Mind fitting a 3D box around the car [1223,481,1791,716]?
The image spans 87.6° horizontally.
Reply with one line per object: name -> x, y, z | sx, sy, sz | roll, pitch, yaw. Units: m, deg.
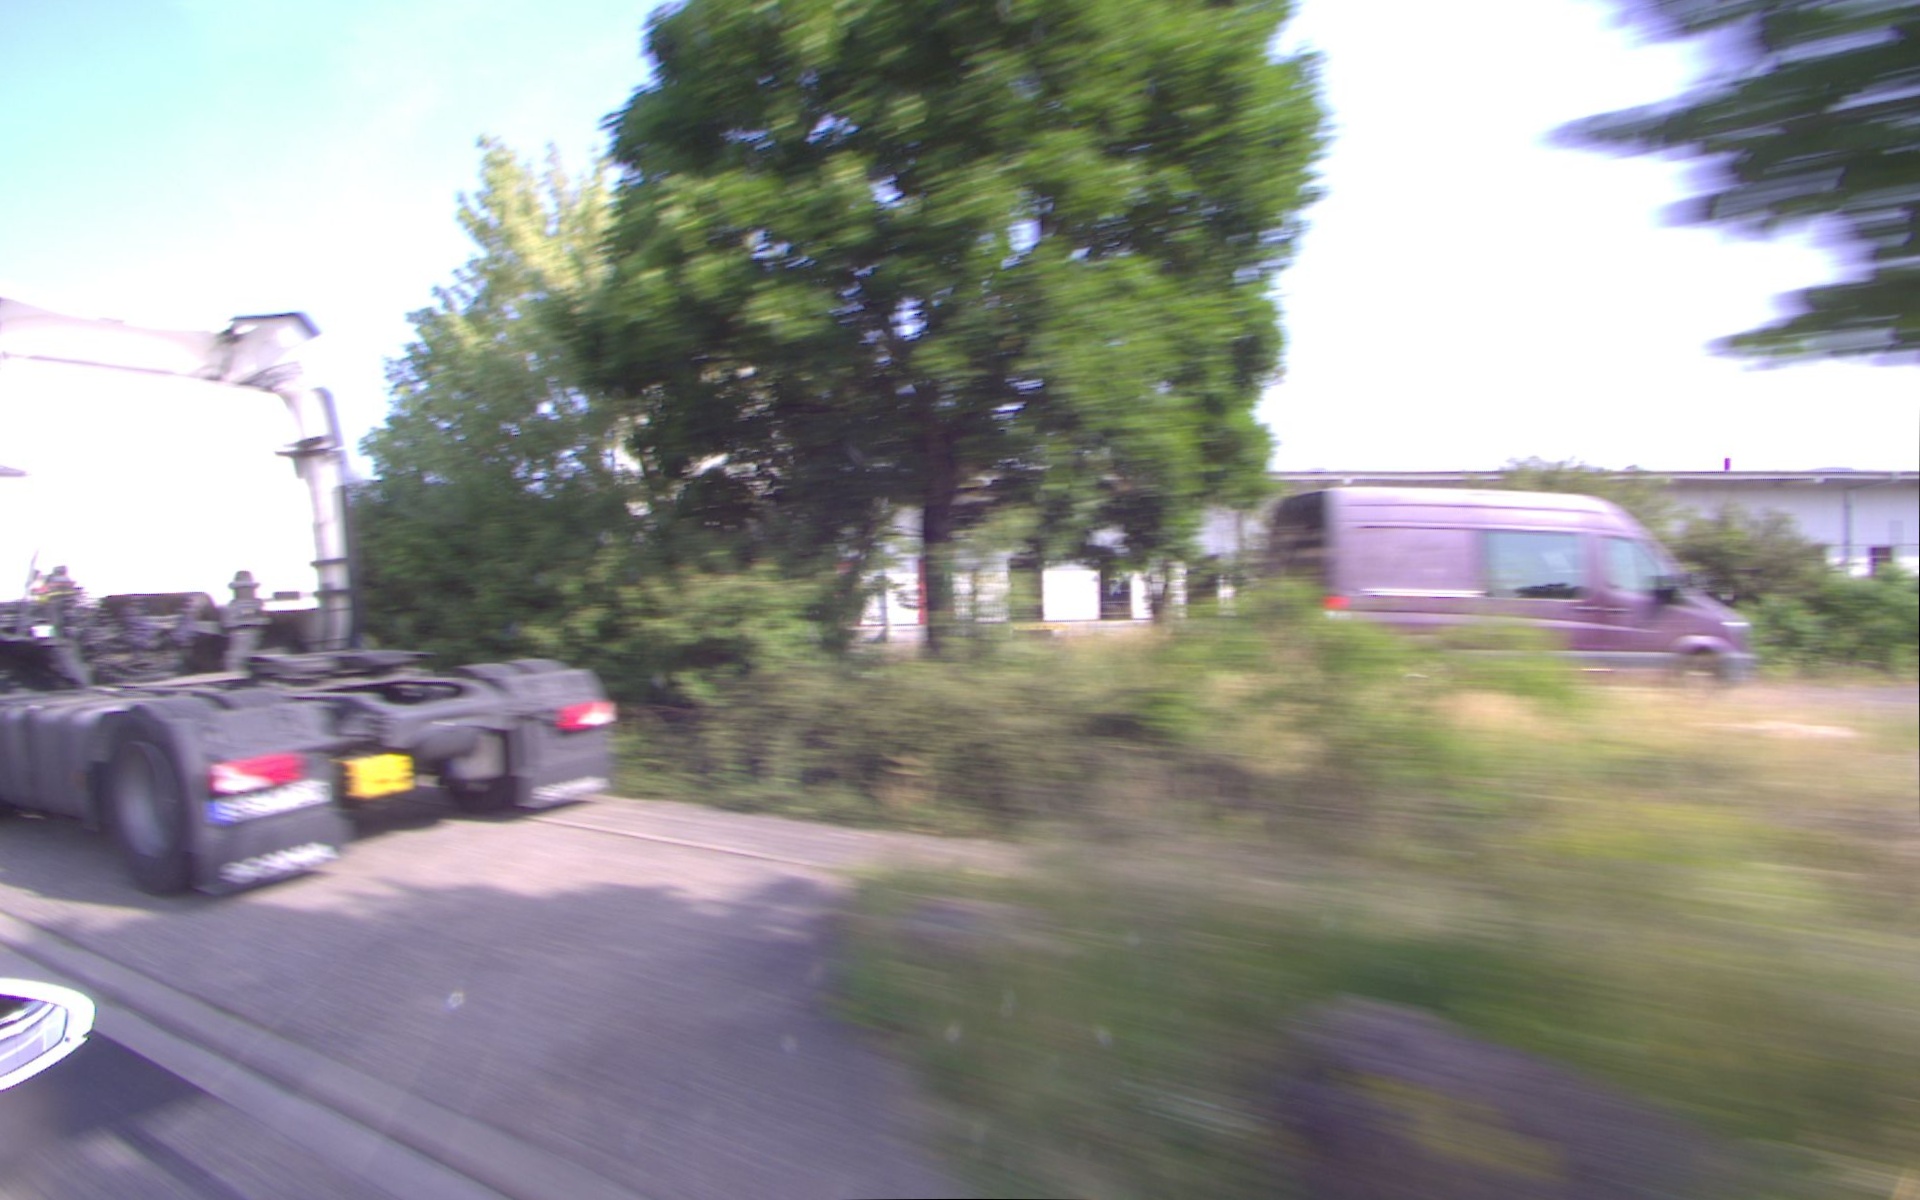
car -> 6.667, 0.050, 12.646 | 5.933, 2.557, 2.575 | 0, -2, -9

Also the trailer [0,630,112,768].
trailer -> -12.239, 1.027, 11.314 | 7.345, 1.252, 1.933 | -1, 2, 33

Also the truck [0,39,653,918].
truck -> -5.449, -0.520, 7.282 | 5.959, 4.019, 2.686 | -1, 3, 31

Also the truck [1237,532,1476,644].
truck -> 11.596, -0.201, 30.499 | 2.737, 2.877, 8.759 | -1, -1, -8
